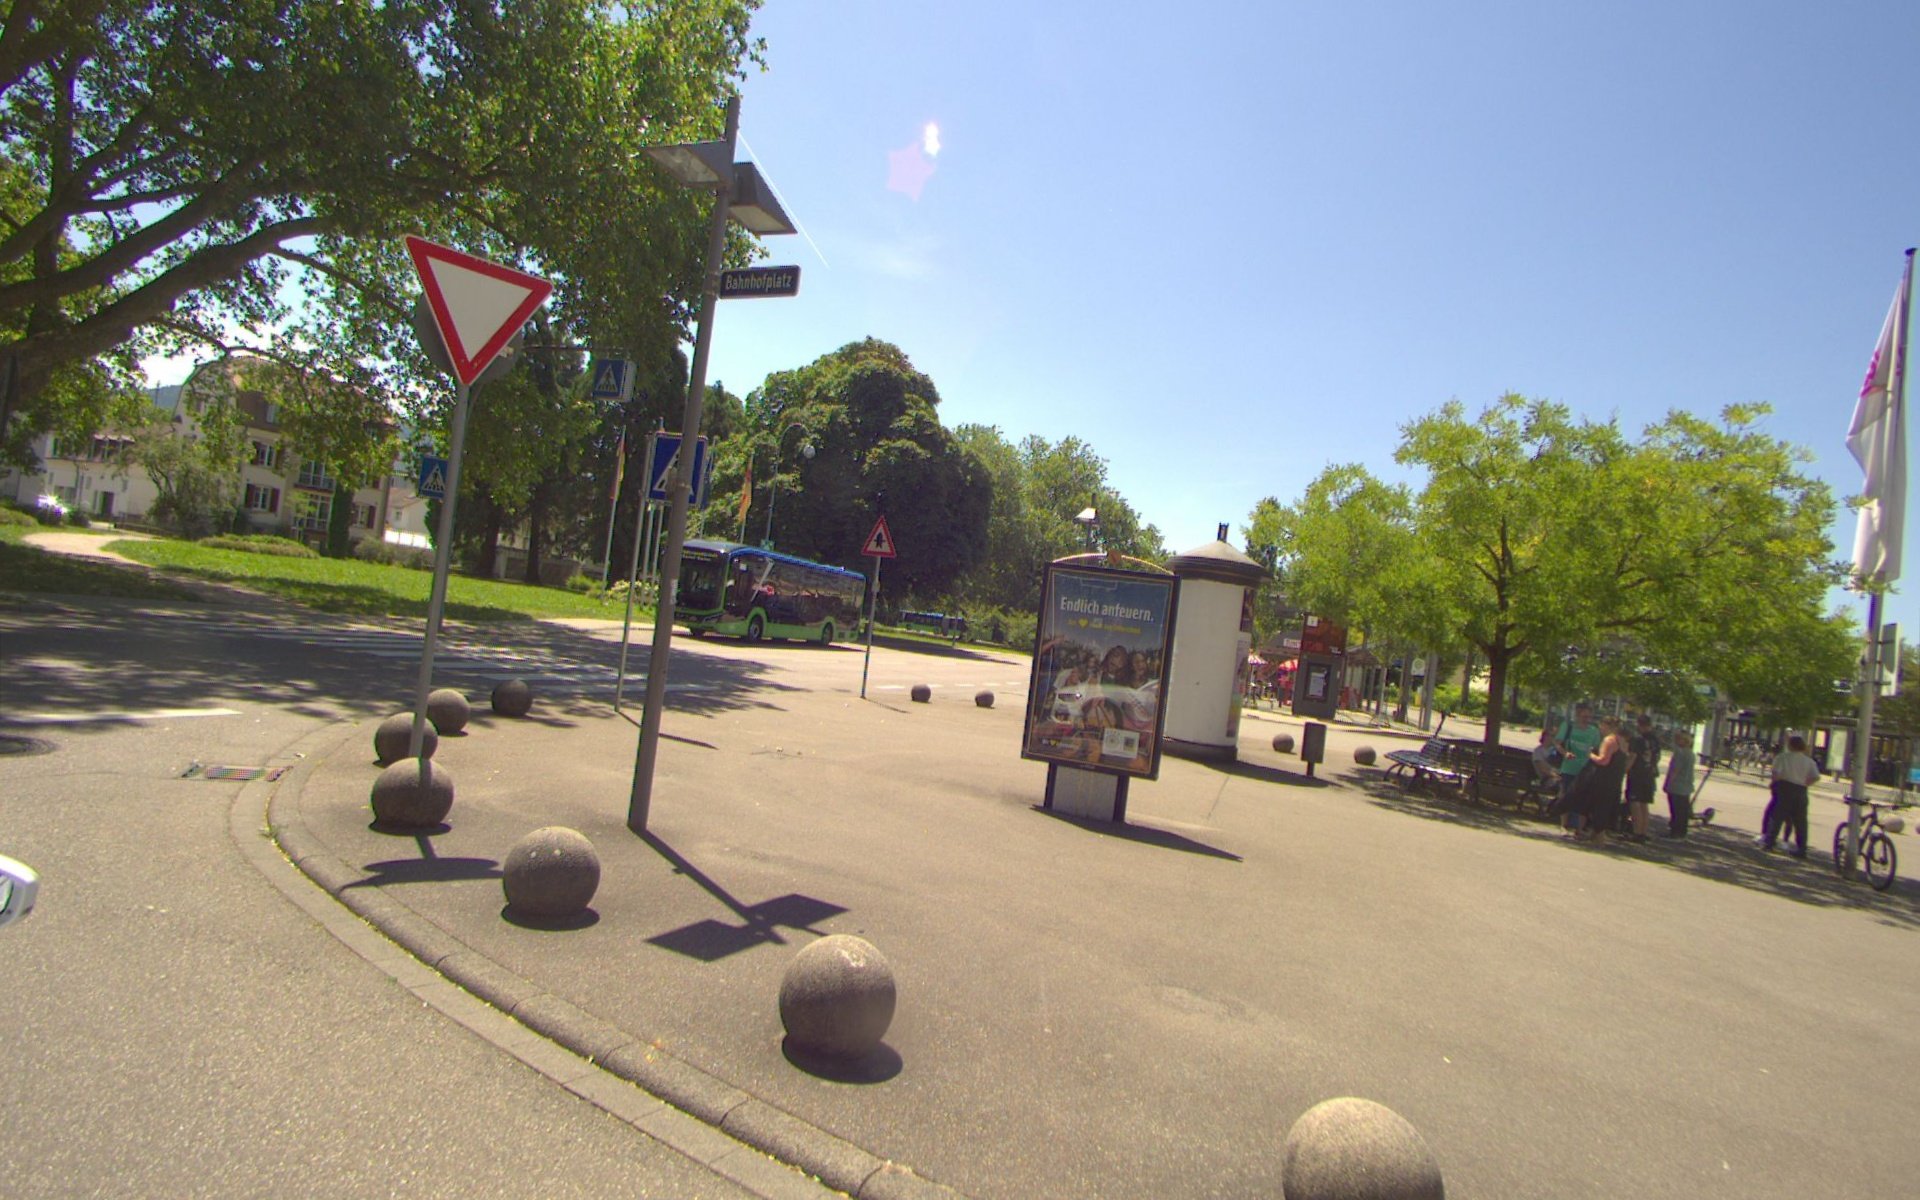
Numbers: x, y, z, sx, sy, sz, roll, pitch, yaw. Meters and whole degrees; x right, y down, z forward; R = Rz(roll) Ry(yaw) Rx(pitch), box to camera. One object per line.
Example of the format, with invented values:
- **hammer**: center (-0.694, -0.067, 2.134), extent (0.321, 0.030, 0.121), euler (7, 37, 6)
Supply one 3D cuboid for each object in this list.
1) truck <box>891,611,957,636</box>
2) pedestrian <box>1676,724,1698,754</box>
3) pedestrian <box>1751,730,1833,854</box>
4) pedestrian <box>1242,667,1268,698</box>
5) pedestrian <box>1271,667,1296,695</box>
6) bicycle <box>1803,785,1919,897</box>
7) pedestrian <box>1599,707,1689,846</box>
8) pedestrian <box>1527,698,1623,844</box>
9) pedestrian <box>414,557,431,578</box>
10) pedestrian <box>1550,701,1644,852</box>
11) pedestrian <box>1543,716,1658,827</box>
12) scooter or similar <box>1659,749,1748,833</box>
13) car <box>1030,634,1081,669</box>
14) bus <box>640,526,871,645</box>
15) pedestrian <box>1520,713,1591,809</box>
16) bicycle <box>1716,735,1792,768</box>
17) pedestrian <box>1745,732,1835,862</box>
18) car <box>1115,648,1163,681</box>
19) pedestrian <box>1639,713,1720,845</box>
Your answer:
- **truck**: center (-5.439, 3.384, 149.504), extent (11.213, 2.377, 2.274), euler (7, -1, 43)
- **pedestrian**: center (36.666, 6.996, 50.730), extent (0.615, 1.411, 0.677), euler (6, -1, 17)
- **pedestrian**: center (12.482, 2.865, 15.106), extent (0.544, 1.705, 0.588), euler (8, 0, 5)
- **pedestrian**: center (15.497, 4.339, 52.866), extent (0.882, 1.435, 0.685), euler (8, 0, -20)
- **pedestrian**: center (17.345, 4.336, 53.953), extent (0.882, 1.328, 0.686), euler (8, 0, -17)
- **bicycle**: center (11.686, 3.058, 12.930), extent (0.413, 1.072, 1.950), euler (8, -1, 15)
- **pedestrian**: center (9.342, 2.396, 13.755), extent (0.575, 1.760, 0.599), euler (8, 0, -8)
- **pedestrian**: center (8.189, 2.256, 13.415), extent (0.681, 1.785, 0.585), euler (7, 0, -4)
- **pedestrian**: center (-38.201, -2.309, 71.559), extent (0.817, 1.386, 0.615), euler (10, 0, -23)
- **pedestrian**: center (8.073, 2.224, 12.774), extent (0.617, 1.760, 0.547), euler (8, 0, -8)
- **pedestrian**: center (9.459, 2.523, 14.890), extent (0.898, 1.403, 0.942), euler (8, 0, -12)
- **scooter or similar**: center (11.914, 3.056, 16.141), extent (1.008, 1.153, 0.294), euler (8, 0, 10)
- **car**: center (5.554, 2.986, 58.008), extent (1.951, 1.646, 4.782), euler (7, -1, 16)
- **bus**: center (-7.187, -0.229, 38.494), extent (2.765, 3.321, 12.433), euler (8, -1, 17)
- **pedestrian**: center (9.532, 2.571, 16.114), extent (0.589, 1.381, 0.598), euler (7, 0, -11)
- **bicycle**: center (39.105, 7.446, 49.567), extent (2.743, 1.015, 0.812), euler (10, 0, 15)
- **pedestrian**: center (11.975, 2.818, 14.525), extent (0.607, 1.705, 0.591), euler (8, 0, 5)
- **car**: center (9.468, 3.397, 52.844), extent (1.896, 1.477, 4.729), euler (5, -2, 16)
- **pedestrian**: center (10.293, 2.548, 14.410), extent (0.504, 1.760, 0.569), euler (7, 0, -12)
